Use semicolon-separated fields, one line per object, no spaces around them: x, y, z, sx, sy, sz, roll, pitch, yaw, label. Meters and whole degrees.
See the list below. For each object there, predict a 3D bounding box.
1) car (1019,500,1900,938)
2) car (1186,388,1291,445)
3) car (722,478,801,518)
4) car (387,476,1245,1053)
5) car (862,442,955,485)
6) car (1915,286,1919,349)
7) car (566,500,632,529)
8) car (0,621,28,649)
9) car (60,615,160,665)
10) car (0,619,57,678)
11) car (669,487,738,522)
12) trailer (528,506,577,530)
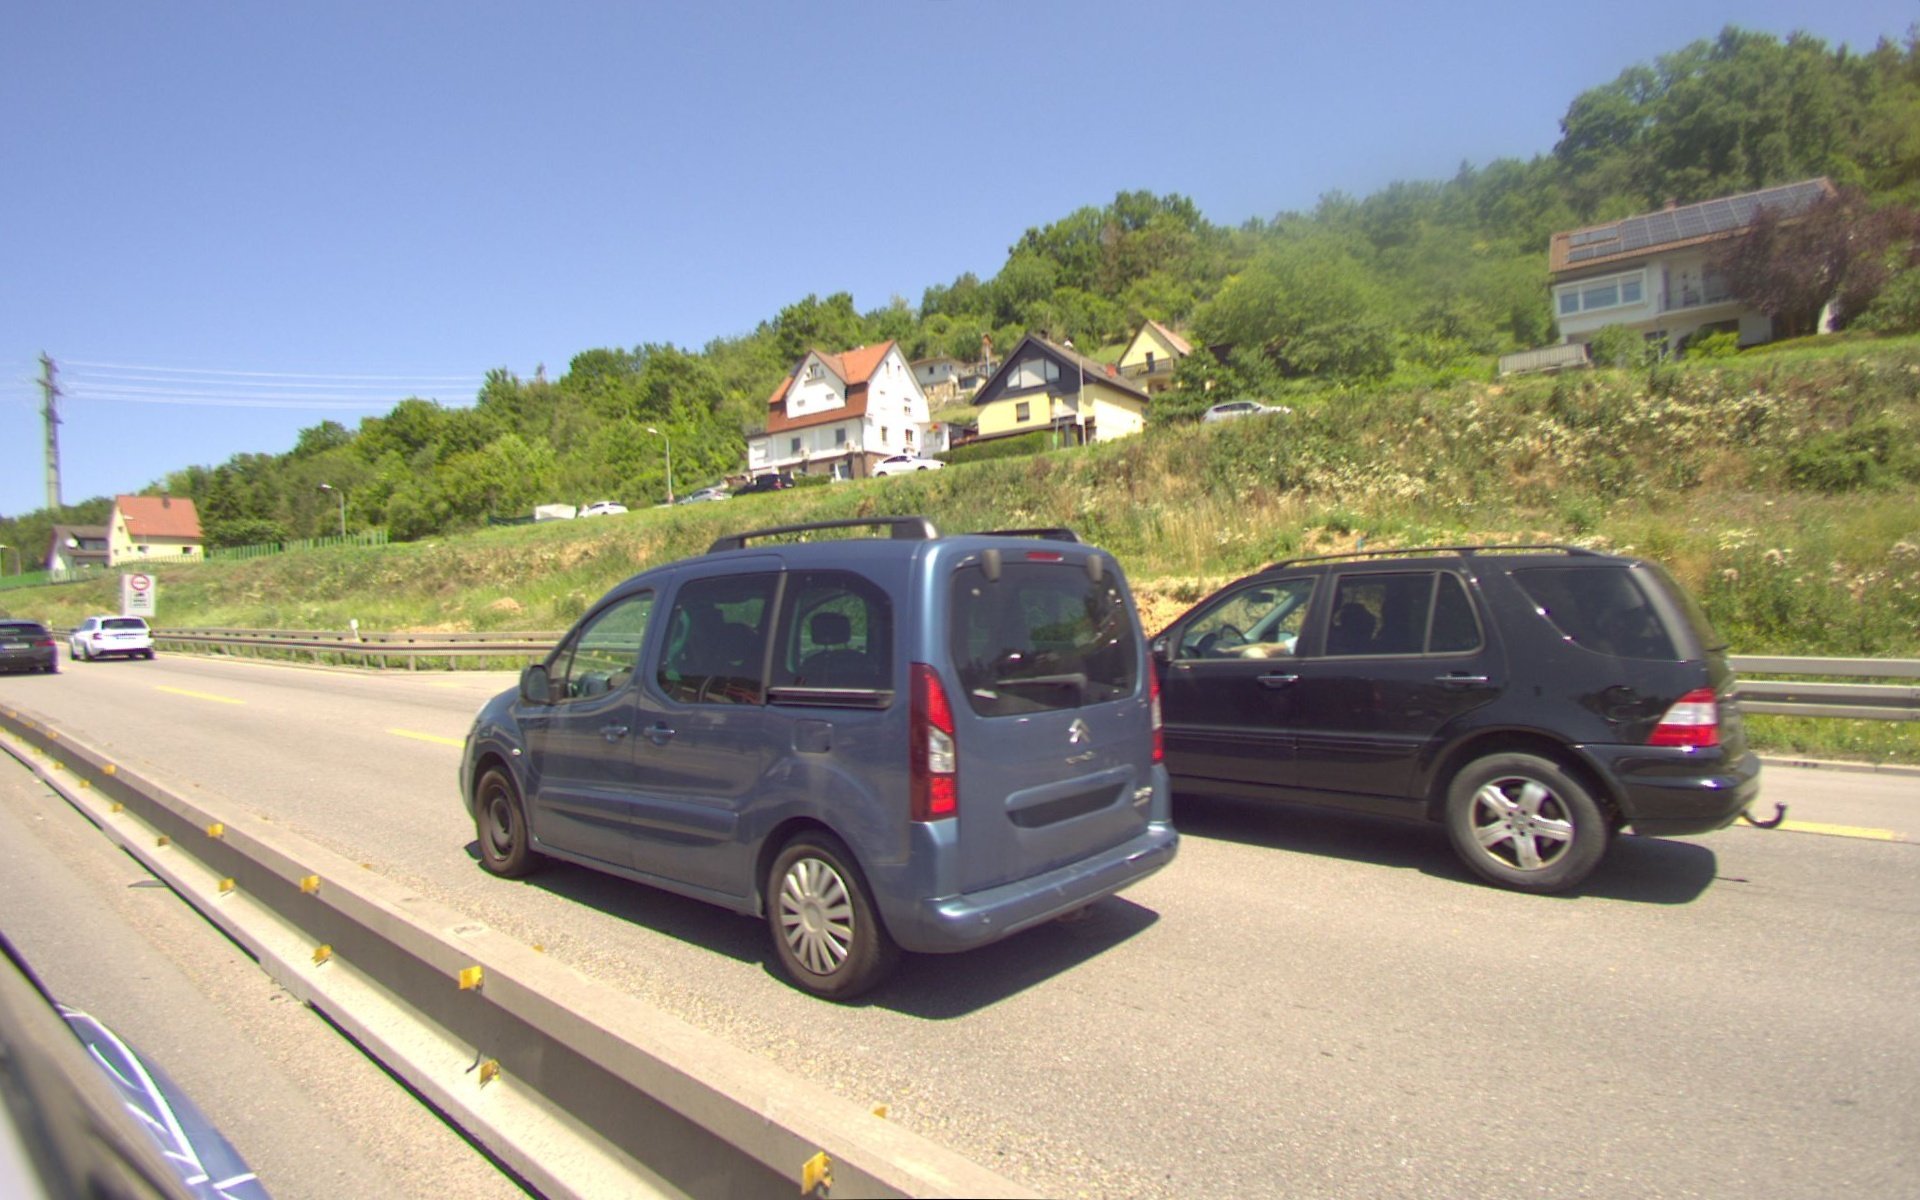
2.694;0.520;6.282;4.494;1.779;1.809;-1;-1;41;car
12.146;-7.941;44.200;3.990;1.807;1.977;0;1;35;car
-12.408;-6.305;63.073;4.963;2.023;2.052;0;1;36;car
-1.165;0.546;5.447;4.879;1.791;1.827;-1;-1;41;car
-2.882;-7.533;56.152;5.000;1.807;1.977;0;1;35;car
31.500;-8.805;29.708;4.752;1.807;2.160;0;1;35;car
-25.556;-6.019;71.597;4.537;1.668;1.979;0;1;32;car
-51.624;1.886;54.347;4.553;1.442;1.791;-1;0;41;car
-28.160;1.287;33.488;4.596;1.508;1.785;-1;-1;40;car
-25.377;1.238;26.704;4.353;1.477;1.779;-1;-1;41;car
-16.699;-6.185;65.880;4.421;1.886;1.976;0;1;36;car
-29.965;-6.028;74.415;3.026;1.527;1.888;0;1;31;trailer
